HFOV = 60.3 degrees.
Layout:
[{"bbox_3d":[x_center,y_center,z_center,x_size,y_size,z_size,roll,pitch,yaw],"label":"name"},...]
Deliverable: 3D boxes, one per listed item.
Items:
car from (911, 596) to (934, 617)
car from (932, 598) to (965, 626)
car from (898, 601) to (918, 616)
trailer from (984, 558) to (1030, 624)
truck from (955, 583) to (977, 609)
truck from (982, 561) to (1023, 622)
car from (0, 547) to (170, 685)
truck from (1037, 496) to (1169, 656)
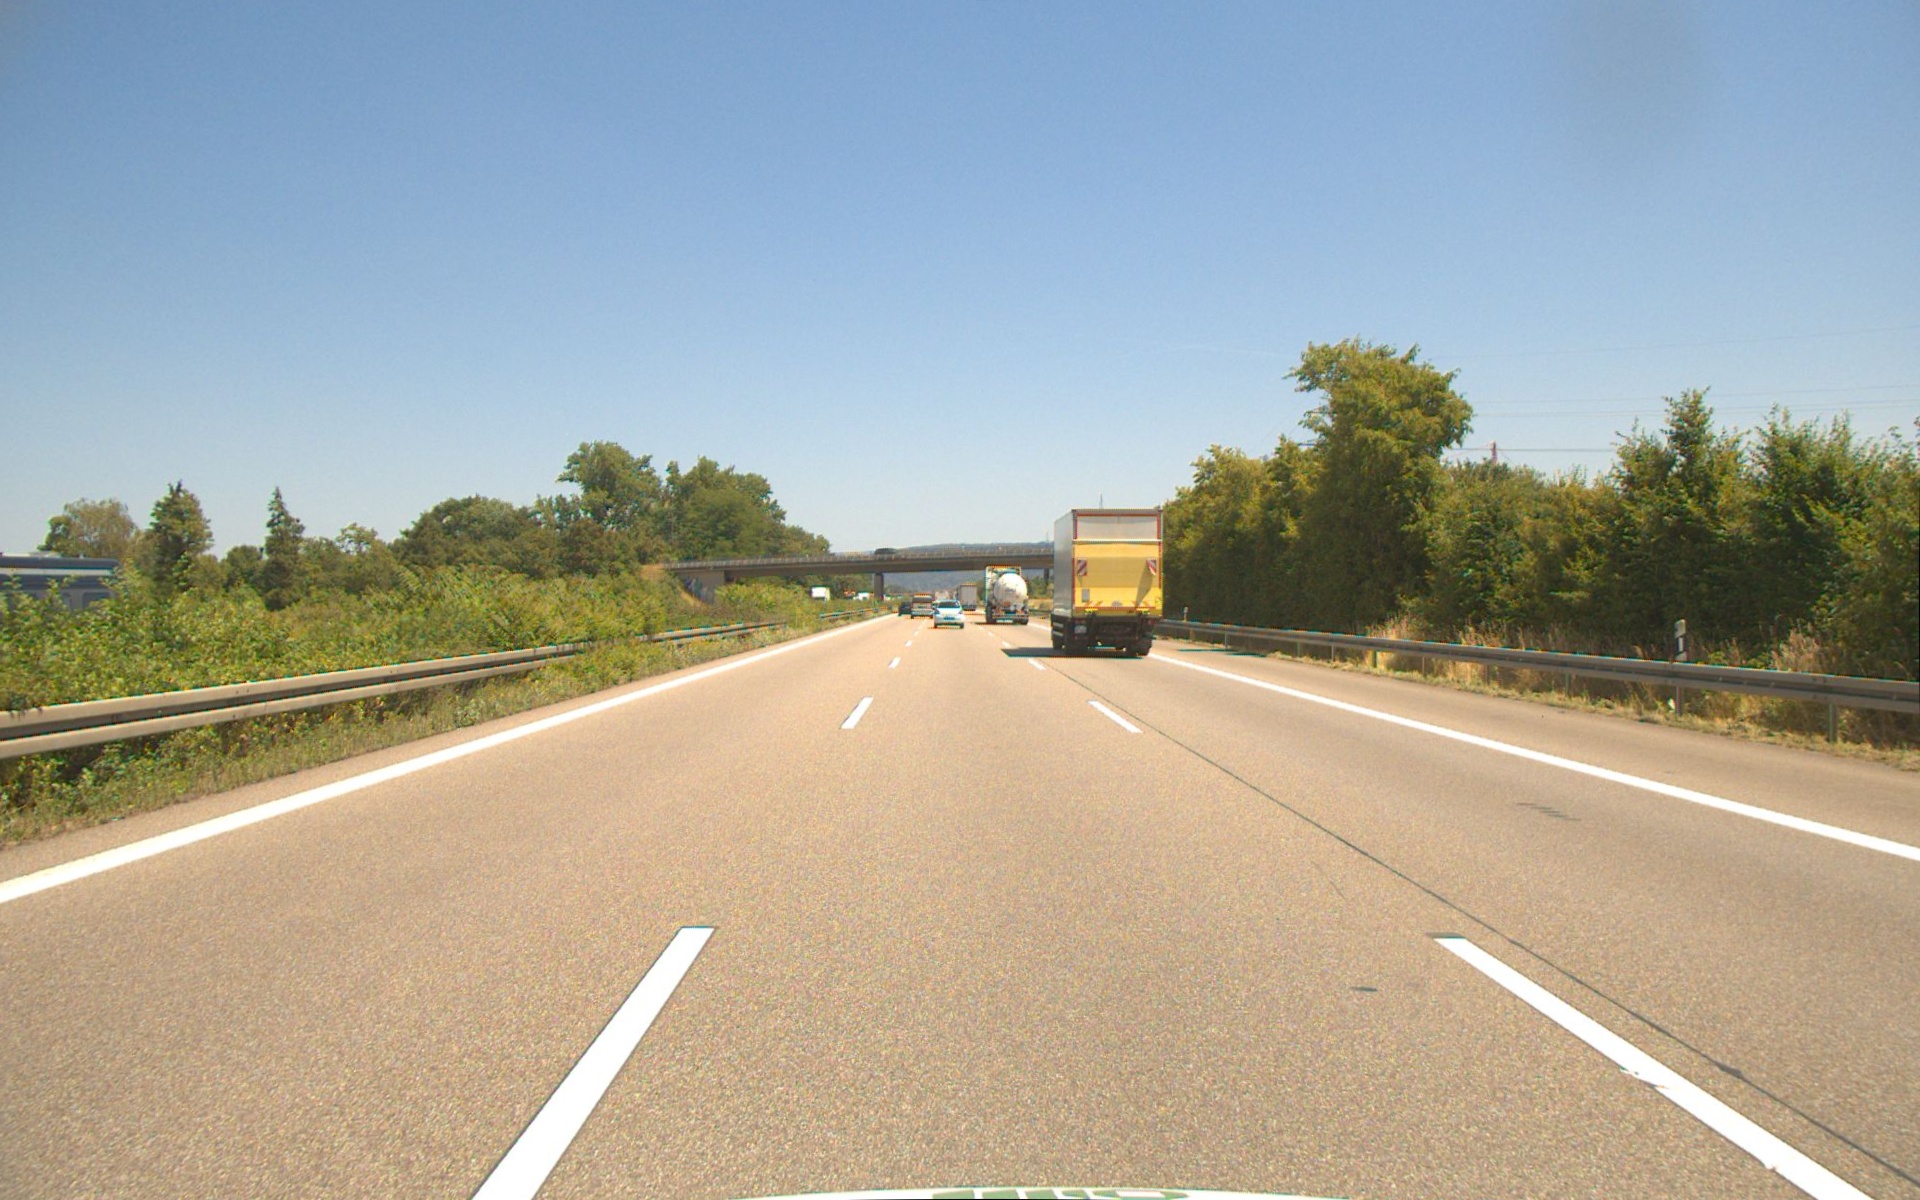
[{"bbox_3d":[-3.146,0.532,138.334,1.814,1.661,3.999,1,0,-1],"label":"car"},{"bbox_3d":[-0.636,0.664,91.312,1.770,1.494,3.999,1,0,-1],"label":"car"},{"bbox_3d":[-4.957,0.776,159.420,1.798,1.411,3.999,1,0,-1],"label":"car"},{"bbox_3d":[3.070,-0.570,111.187,2.527,4.145,11.100,1,0,-1],"label":"trailer"},{"bbox_3d":[0.903,-0.673,261.040,3.199,3.925,11.628,1,0,-1],"label":"truck"},{"bbox_3d":[2.967,-0.568,115.929,2.521,4.143,6.391,1,0,-1],"label":"truck"},{"bbox_3d":[-14.595,0.199,25.493,2.212,1.932,5.518,1,0,-1],"label":"car"},{"bbox_3d":[4.132,-0.658,50.252,2.874,4.273,10.679,1,0,-1],"label":"truck"}]
